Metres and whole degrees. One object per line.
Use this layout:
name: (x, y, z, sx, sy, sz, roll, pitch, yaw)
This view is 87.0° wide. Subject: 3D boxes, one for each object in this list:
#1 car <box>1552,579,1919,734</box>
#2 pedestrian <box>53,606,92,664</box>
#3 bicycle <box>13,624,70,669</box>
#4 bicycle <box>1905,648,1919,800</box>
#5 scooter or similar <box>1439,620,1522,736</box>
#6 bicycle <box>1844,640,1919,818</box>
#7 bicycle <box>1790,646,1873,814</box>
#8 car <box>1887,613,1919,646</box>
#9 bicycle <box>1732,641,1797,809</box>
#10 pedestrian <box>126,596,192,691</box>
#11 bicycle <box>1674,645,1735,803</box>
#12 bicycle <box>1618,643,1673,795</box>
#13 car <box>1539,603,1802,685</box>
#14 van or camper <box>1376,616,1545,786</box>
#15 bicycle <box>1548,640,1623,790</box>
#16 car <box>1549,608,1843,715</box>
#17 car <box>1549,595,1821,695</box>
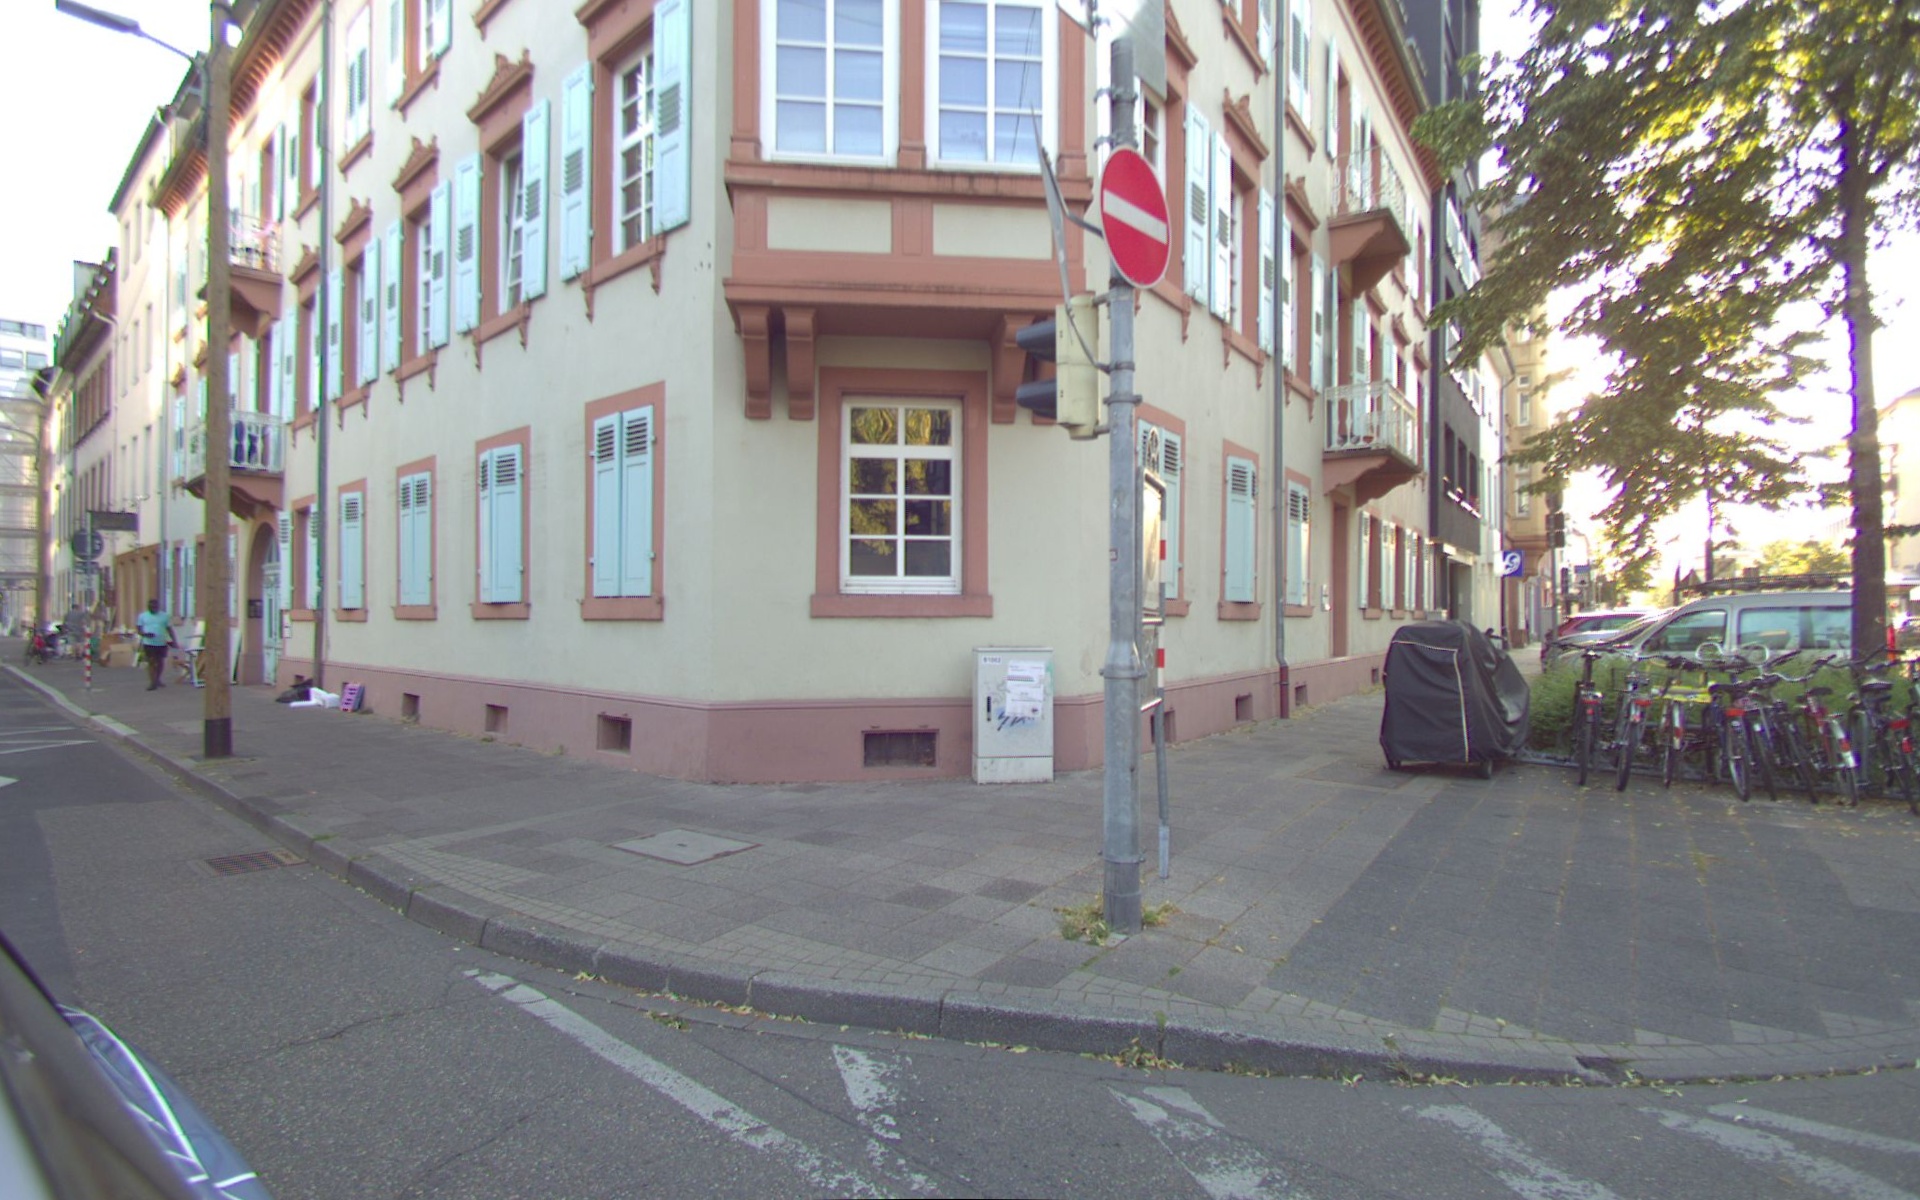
car: (10.522, 0.712, 14.023, 3.817, 1.863, 1.678, -1, -2, 38)
pedestrian: (-26.680, 1.048, 30.437, 0.649, 1.709, 0.815, -1, -1, 42)
bicycle: (-25.817, 1.291, 28.462, 0.649, 1.179, 1.613, -1, -1, -21)
bicycle: (7.165, 0.926, 7.210, 0.396, 1.116, 1.691, 2, 0, 36)
scooter or similar: (5.945, 0.845, 11.534, 0.676, 1.231, 1.379, -1, -1, 34)
bicycle: (6.844, 0.892, 7.456, 0.331, 1.149, 1.577, 2, 0, 36)
bicycle: (6.554, 0.921, 7.647, 0.319, 1.090, 1.577, 2, 0, 36)
car: (46.429, 1.432, 49.068, 1.632, 1.565, 2.666, -1, -2, 31)
bicycle: (6.178, 0.899, 7.805, 0.312, 1.157, 1.592, 0, -2, 36)
pedestrian: (-15.005, 0.799, 18.960, 0.649, 1.709, 0.815, -1, 1, 42)
bicycle: (5.844, 0.914, 7.963, 0.341, 1.090, 1.577, -1, -2, 36)
bicycle: (5.551, 0.905, 8.173, 0.322, 1.090, 1.577, 0, -2, 36)
car: (14.233, 0.850, 20.611, 4.206, 1.528, 1.743, -1, -1, 31)
van or camper: (4.353, 0.793, 8.729, 0.943, 1.269, 1.821, 1, -1, 38)
bicycle: (5.238, 0.905, 8.444, 0.396, 1.090, 1.577, 2, 0, 36)
car: (11.704, 0.912, 16.265, 3.658, 1.526, 1.627, -1, -1, 39)
car: (12.961, 0.747, 18.287, 3.831, 1.597, 1.719, 1, -1, 37)
